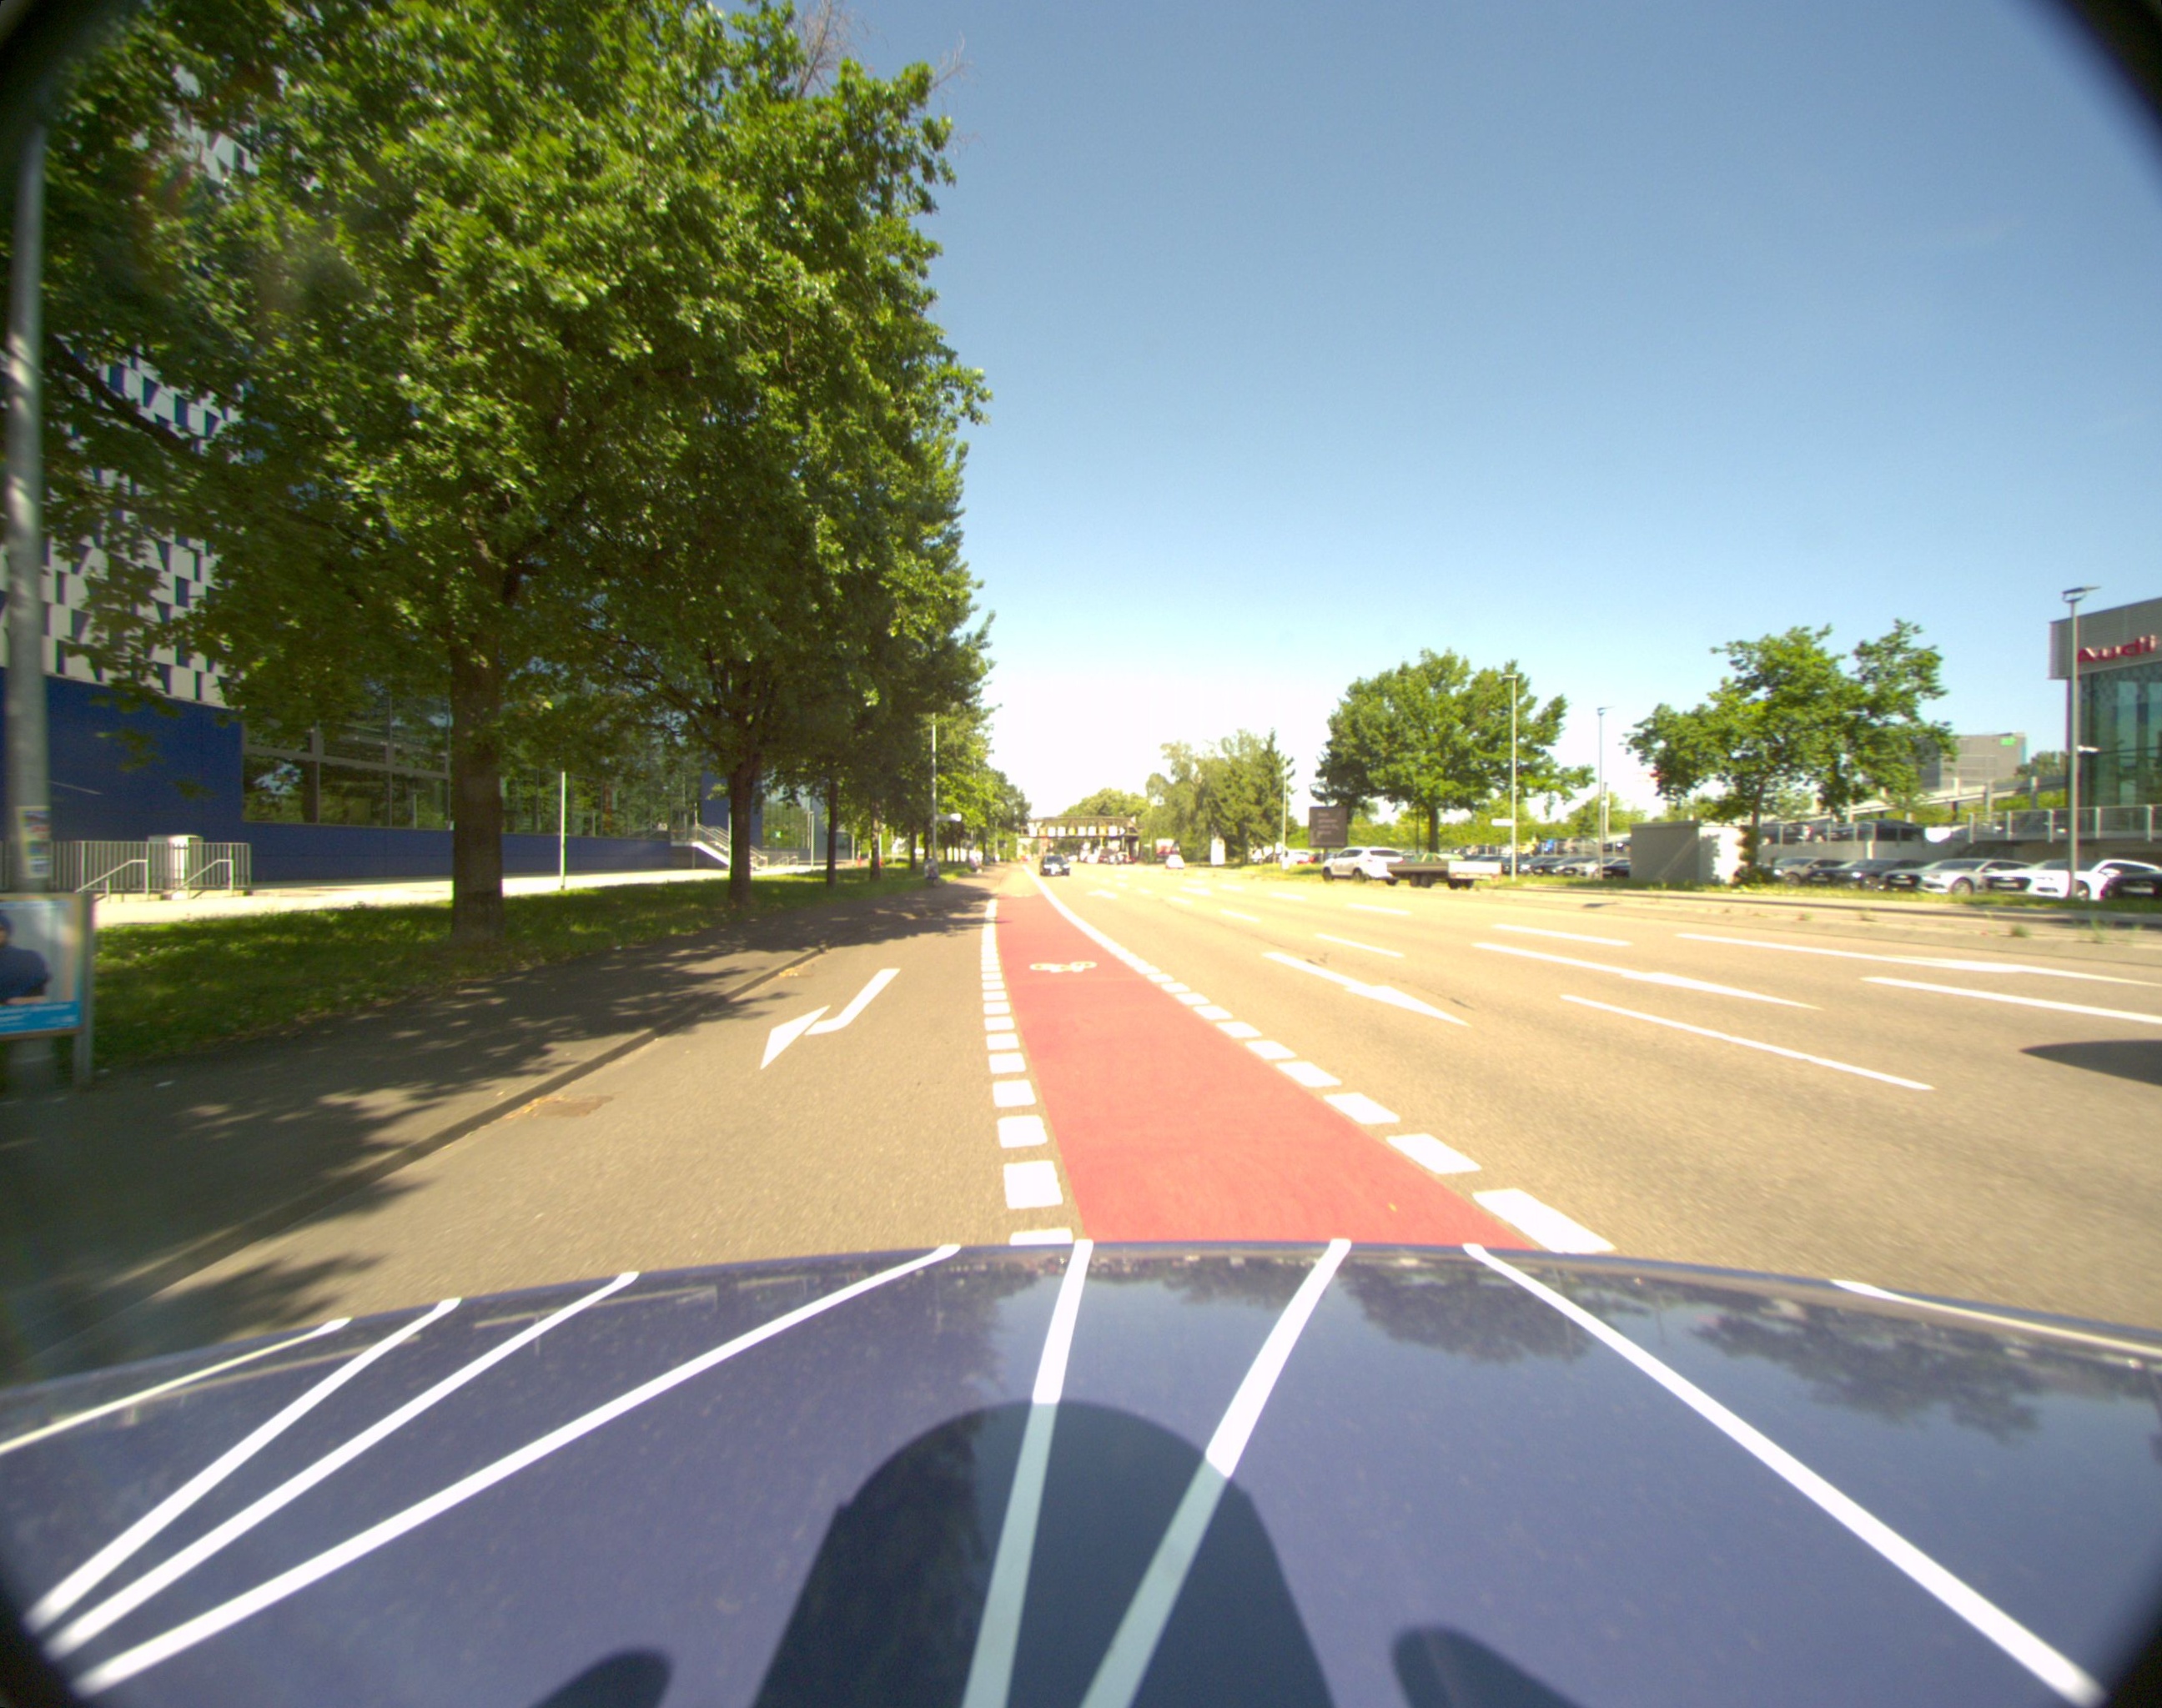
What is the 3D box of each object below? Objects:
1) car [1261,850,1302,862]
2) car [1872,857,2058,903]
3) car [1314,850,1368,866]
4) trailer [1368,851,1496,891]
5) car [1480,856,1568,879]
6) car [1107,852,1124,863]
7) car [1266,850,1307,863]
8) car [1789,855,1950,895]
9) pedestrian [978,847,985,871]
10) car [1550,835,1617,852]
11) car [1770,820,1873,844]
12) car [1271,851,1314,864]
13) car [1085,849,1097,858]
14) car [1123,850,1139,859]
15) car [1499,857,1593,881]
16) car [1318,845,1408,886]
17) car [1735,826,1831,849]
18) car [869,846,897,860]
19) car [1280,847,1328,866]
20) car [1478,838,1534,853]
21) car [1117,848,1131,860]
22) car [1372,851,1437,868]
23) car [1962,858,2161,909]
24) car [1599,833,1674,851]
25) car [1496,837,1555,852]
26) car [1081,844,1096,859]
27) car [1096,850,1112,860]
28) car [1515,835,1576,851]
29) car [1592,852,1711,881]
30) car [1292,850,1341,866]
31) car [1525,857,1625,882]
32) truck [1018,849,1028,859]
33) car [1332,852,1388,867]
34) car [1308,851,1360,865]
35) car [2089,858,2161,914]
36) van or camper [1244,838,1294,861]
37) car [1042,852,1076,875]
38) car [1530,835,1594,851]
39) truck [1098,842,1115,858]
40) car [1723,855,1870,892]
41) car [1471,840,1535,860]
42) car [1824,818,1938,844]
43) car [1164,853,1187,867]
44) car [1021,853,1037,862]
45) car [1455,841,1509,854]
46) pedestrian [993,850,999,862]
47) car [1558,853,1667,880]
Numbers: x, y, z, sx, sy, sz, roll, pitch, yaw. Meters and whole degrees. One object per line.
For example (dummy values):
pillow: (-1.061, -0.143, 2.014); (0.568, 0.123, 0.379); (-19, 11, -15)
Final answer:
car: (22.649, 0.223, 85.905); (4.097, 1.430, 1.744); (0, 0, 1)
car: (28.241, 0.809, 24.357); (3.999, 1.368, 1.864); (0, 0, -5)
car: (23.855, 0.374, 69.858); (4.278, 1.373, 1.953); (0, 0, -2)
trailer: (13.992, 0.628, 30.784); (2.000, 1.444, 5.768); (0, 0, -7)
car: (26.955, 0.803, 46.299); (4.278, 1.343, 1.953); (0, 0, -2)
car: (4.609, 0.477, 102.969); (1.788, 1.406, 3.998); (2, 0, -5)
car: (22.623, 0.244, 83.799); (4.097, 1.346, 1.743); (0, 1, 1)
car: (27.994, 0.729, 27.052); (3.999, 1.368, 1.864); (0, 0, -5)
pedestrian: (-7.638, 0.385, 58.301); (0.536, 1.831, 0.727); (0, 1, -4)
car: (41.342, -0.840, 62.523); (4.278, 1.343, 1.953); (0, 0, -4)
car: (43.240, -1.253, 44.443); (4.278, 1.343, 1.953); (0, 0, -4)
car: (22.482, 0.353, 80.946); (4.098, 1.286, 1.743); (0, 0, -2)
car: (1.722, -0.037, 132.052); (1.648, 1.485, 3.827); (2, -1, -5)
car: (8.293, 0.079, 125.458); (1.999, 1.405, 4.679); (0, 0, -4)
car: (26.996, 0.831, 44.195); (4.278, 1.343, 1.953); (0, 0, -2)
car: (13.305, 0.495, 36.199); (2.000, 1.822, 4.934); (0, 0, -7)
car: (43.161, -1.013, 46.774); (4.278, 1.343, 1.953); (0, 0, -4)
car: (-26.782, -0.141, 102.882); (1.908, 1.818, 4.184); (0, 0, 13)
car: (22.990, 0.237, 78.461); (4.278, 1.873, 1.953); (0, 0, -2)
car: (40.345, -0.788, 72.201); (4.278, 1.343, 1.953); (0, 0, -4)
car: (7.531, 0.057, 133.568); (1.998, 2.002, 5.346); (1, 0, 0)
car: (25.552, 0.435, 60.046); (4.278, 1.343, 1.953); (0, 0, -2)
car: (28.480, 0.825, 21.892); (4.054, 1.368, 2.024); (0, 0, -4)
car: (41.725, -0.880, 57.147); (4.278, 1.343, 1.953); (0, 0, -4)
car: (40.817, -0.893, 69.856); (4.278, 1.343, 1.953); (0, 0, -4)
car: (1.387, -0.552, 149.539); (2.000, 2.788, 6.933); (2, 0, -6)
car: (3.529, 0.133, 115.151); (1.846, 1.455, 4.997); (2, 0, -4)
car: (41.195, -0.949, 67.415); (4.278, 1.343, 1.953); (0, 0, -4)
car: (27.346, 0.588, 36.522); (4.278, 1.343, 1.953); (0, 0, -2)
car: (23.575, 0.392, 76.171); (4.278, 1.495, 1.953); (0, 0, -2)
car: (27.297, 0.838, 42.089); (4.278, 1.343, 1.953); (0, 0, -2)
truck: (-17.938, 0.120, 236.027); (2.412, 2.845, 5.800); (-2, -1, -10)
car: (24.833, 0.462, 67.754); (4.278, 1.343, 1.953); (0, 0, -2)
car: (24.361, 0.395, 73.224); (4.278, 1.320, 1.953); (0, 0, -2)
car: (28.578, 0.804, 19.179); (3.999, 1.368, 1.923); (0, 0, -5)
van or camper: (22.245, -0.495, 90.036); (5.395, 2.456, 1.999); (-2, 0, -7)
car: (-1.600, 0.615, 53.074); (1.911, 1.511, 4.370); (0, 0, -8)
car: (41.303, -0.895, 65.298); (4.278, 1.343, 1.953); (0, 0, -4)
truck: (5.157, -0.783, 154.882); (2.348, 3.070, 7.064); (0, 0, -8)
car: (27.765, 0.725, 29.569); (3.999, 1.368, 1.999); (0, 0, -4)
car: (35.367, -0.299, 63.783); (4.278, 1.633, 1.953); (0, 0, -2)
car: (43.500, -1.220, 41.369); (4.278, 1.343, 1.953); (0, 0, -4)
car: (10.385, 0.640, 83.541); (1.659, 1.455, 3.547); (2, 0, -7)
car: (-13.339, 0.882, 194.950); (4.000, 2.001, 1.999); (-2, -1, -8)
car: (39.813, -0.645, 75.479); (4.278, 1.343, 1.953); (0, 0, -4)
pedestrian: (-10.763, 0.251, 96.003); (0.649, 1.594, 0.846); (0, 1, -4)
car: (27.190, 0.645, 38.961); (4.278, 1.343, 1.953); (0, 0, -2)
